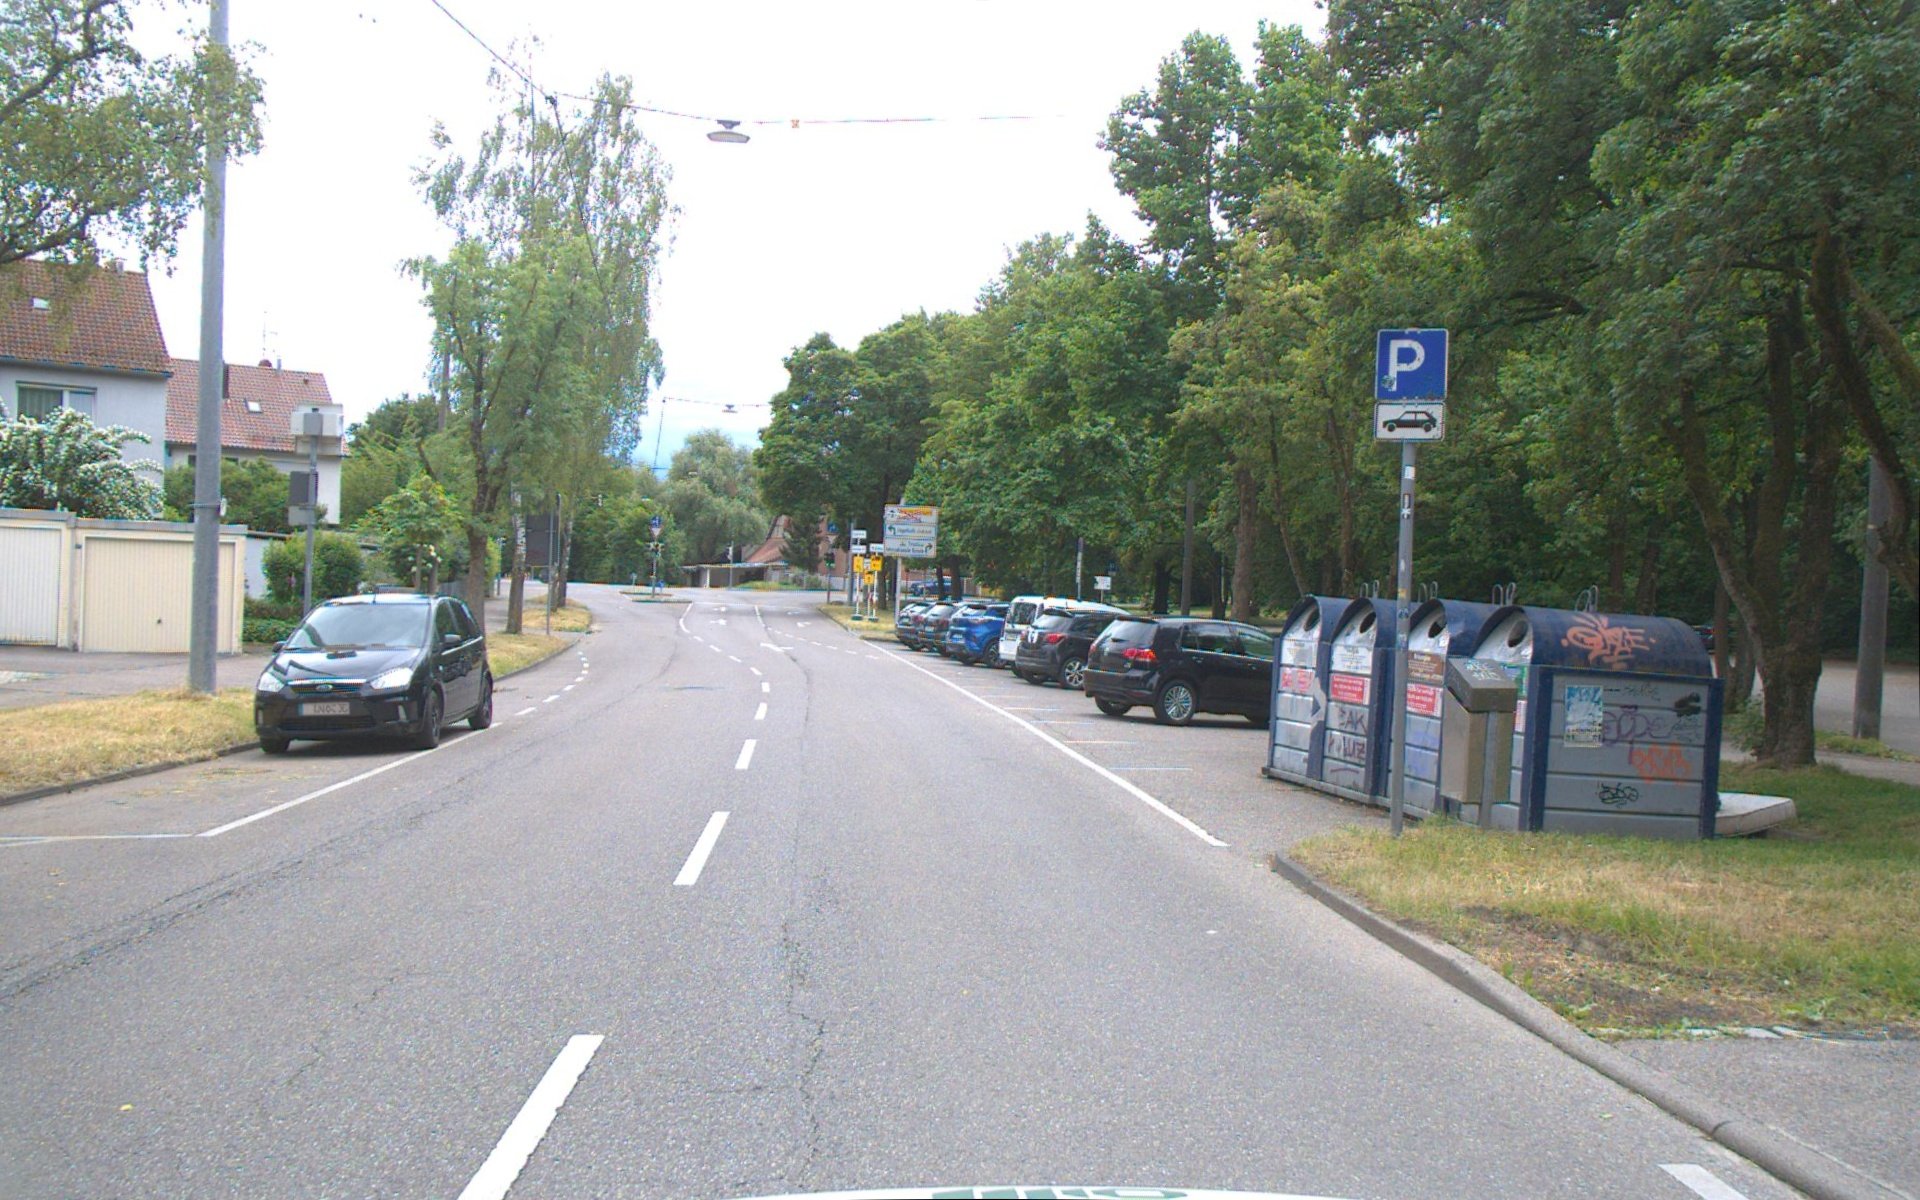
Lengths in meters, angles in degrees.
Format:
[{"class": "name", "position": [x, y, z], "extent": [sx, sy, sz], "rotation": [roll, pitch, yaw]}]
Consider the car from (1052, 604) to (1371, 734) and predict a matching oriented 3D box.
[{"class": "car", "position": [3.550, 0.973, 23.383], "extent": [3.939, 1.438, 2.041], "rotation": [5, 1, -27]}]

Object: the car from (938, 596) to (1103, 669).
[{"class": "car", "position": [1.543, 0.834, 42.002], "extent": [3.773, 1.555, 1.732], "rotation": [5, -2, -27]}]

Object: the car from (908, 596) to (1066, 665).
[{"class": "car", "position": [0.711, 0.809, 43.903], "extent": [3.773, 1.555, 1.732], "rotation": [5, -2, -27]}]

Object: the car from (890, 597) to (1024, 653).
[{"class": "car", "position": [-0.088, 0.773, 51.797], "extent": [3.773, 1.450, 1.732], "rotation": [5, -2, -27]}]

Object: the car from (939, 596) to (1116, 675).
[{"class": "car", "position": [1.604, 0.838, 39.086], "extent": [3.773, 1.555, 1.732], "rotation": [5, -2, -27]}]

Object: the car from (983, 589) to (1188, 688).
[{"class": "car", "position": [2.613, 0.798, 34.385], "extent": [3.773, 1.750, 1.862], "rotation": [5, -1, -27]}]

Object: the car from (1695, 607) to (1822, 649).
[{"class": "car", "position": [29.853, 1.028, 61.896], "extent": [3.906, 1.434, 1.800], "rotation": [1, 0, -1]}]

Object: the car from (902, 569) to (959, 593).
[{"class": "car", "position": [-2.189, -1.445, 124.608], "extent": [3.801, 1.676, 1.982], "rotation": [1, 1, -28]}]

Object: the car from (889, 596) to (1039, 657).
[{"class": "car", "position": [0.118, 0.750, 47.003], "extent": [3.826, 1.451, 1.815], "rotation": [5, -2, -27]}]

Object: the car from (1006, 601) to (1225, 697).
[{"class": "car", "position": [2.984, 0.940, 31.653], "extent": [3.773, 1.493, 1.732], "rotation": [5, 0, -27]}]

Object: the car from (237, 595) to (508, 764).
[{"class": "car", "position": [-6.308, 0.776, 18.256], "extent": [1.769, 1.590, 4.262], "rotation": [-1, 0, -5]}]
